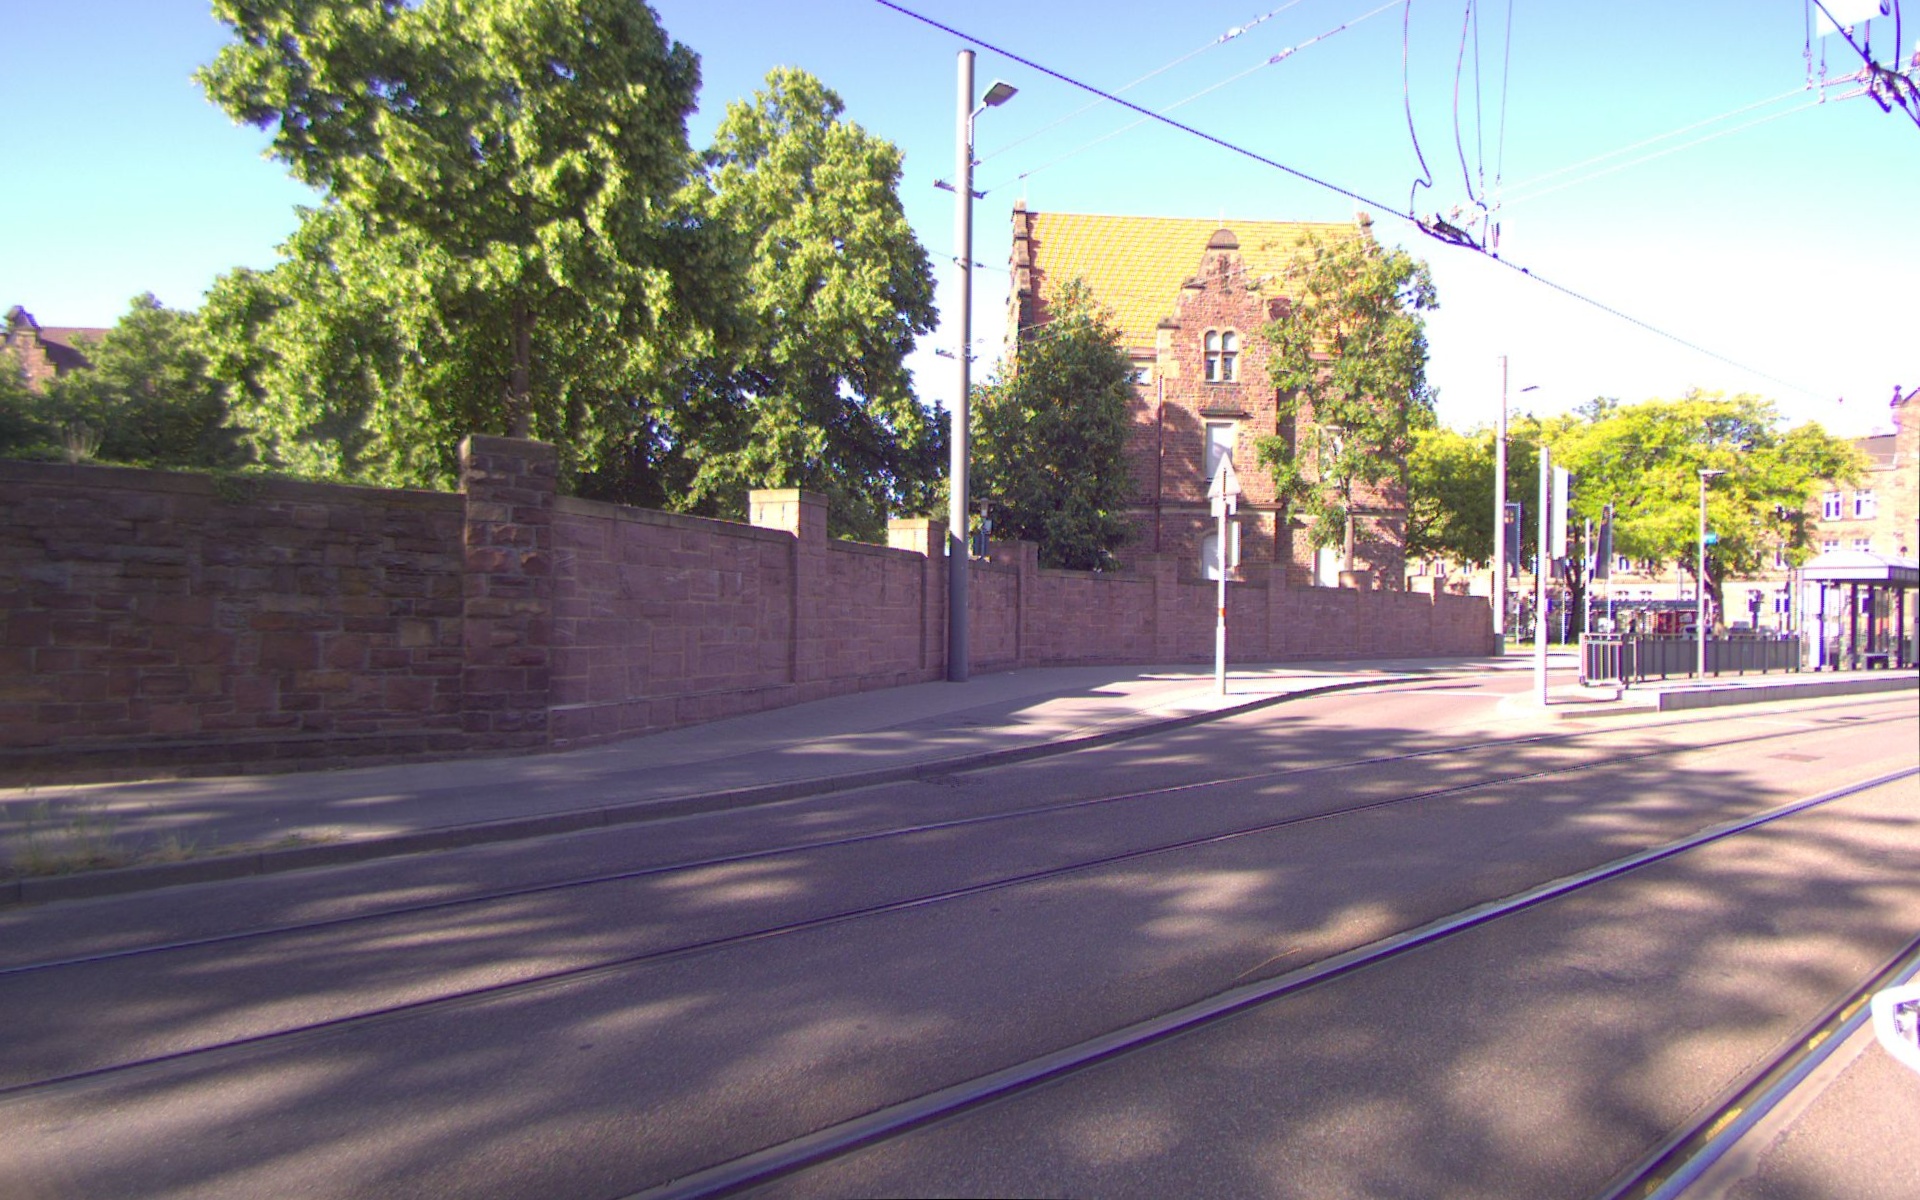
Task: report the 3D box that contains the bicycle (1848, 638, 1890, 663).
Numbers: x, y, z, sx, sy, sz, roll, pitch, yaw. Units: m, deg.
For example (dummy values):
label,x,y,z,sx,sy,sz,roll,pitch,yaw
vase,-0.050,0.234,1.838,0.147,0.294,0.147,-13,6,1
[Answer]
label,x,y,z,sx,sy,sz,roll,pitch,yaw
bicycle,41.290,2.296,45.632,2.036,1.103,0.682,1,0,-26

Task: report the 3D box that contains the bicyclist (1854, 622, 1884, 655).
label,x,y,z,sx,sy,sz,roll,pitch,yaw
bicyclist,41.300,1.749,45.637,1.136,1.478,0.651,1,0,-25
